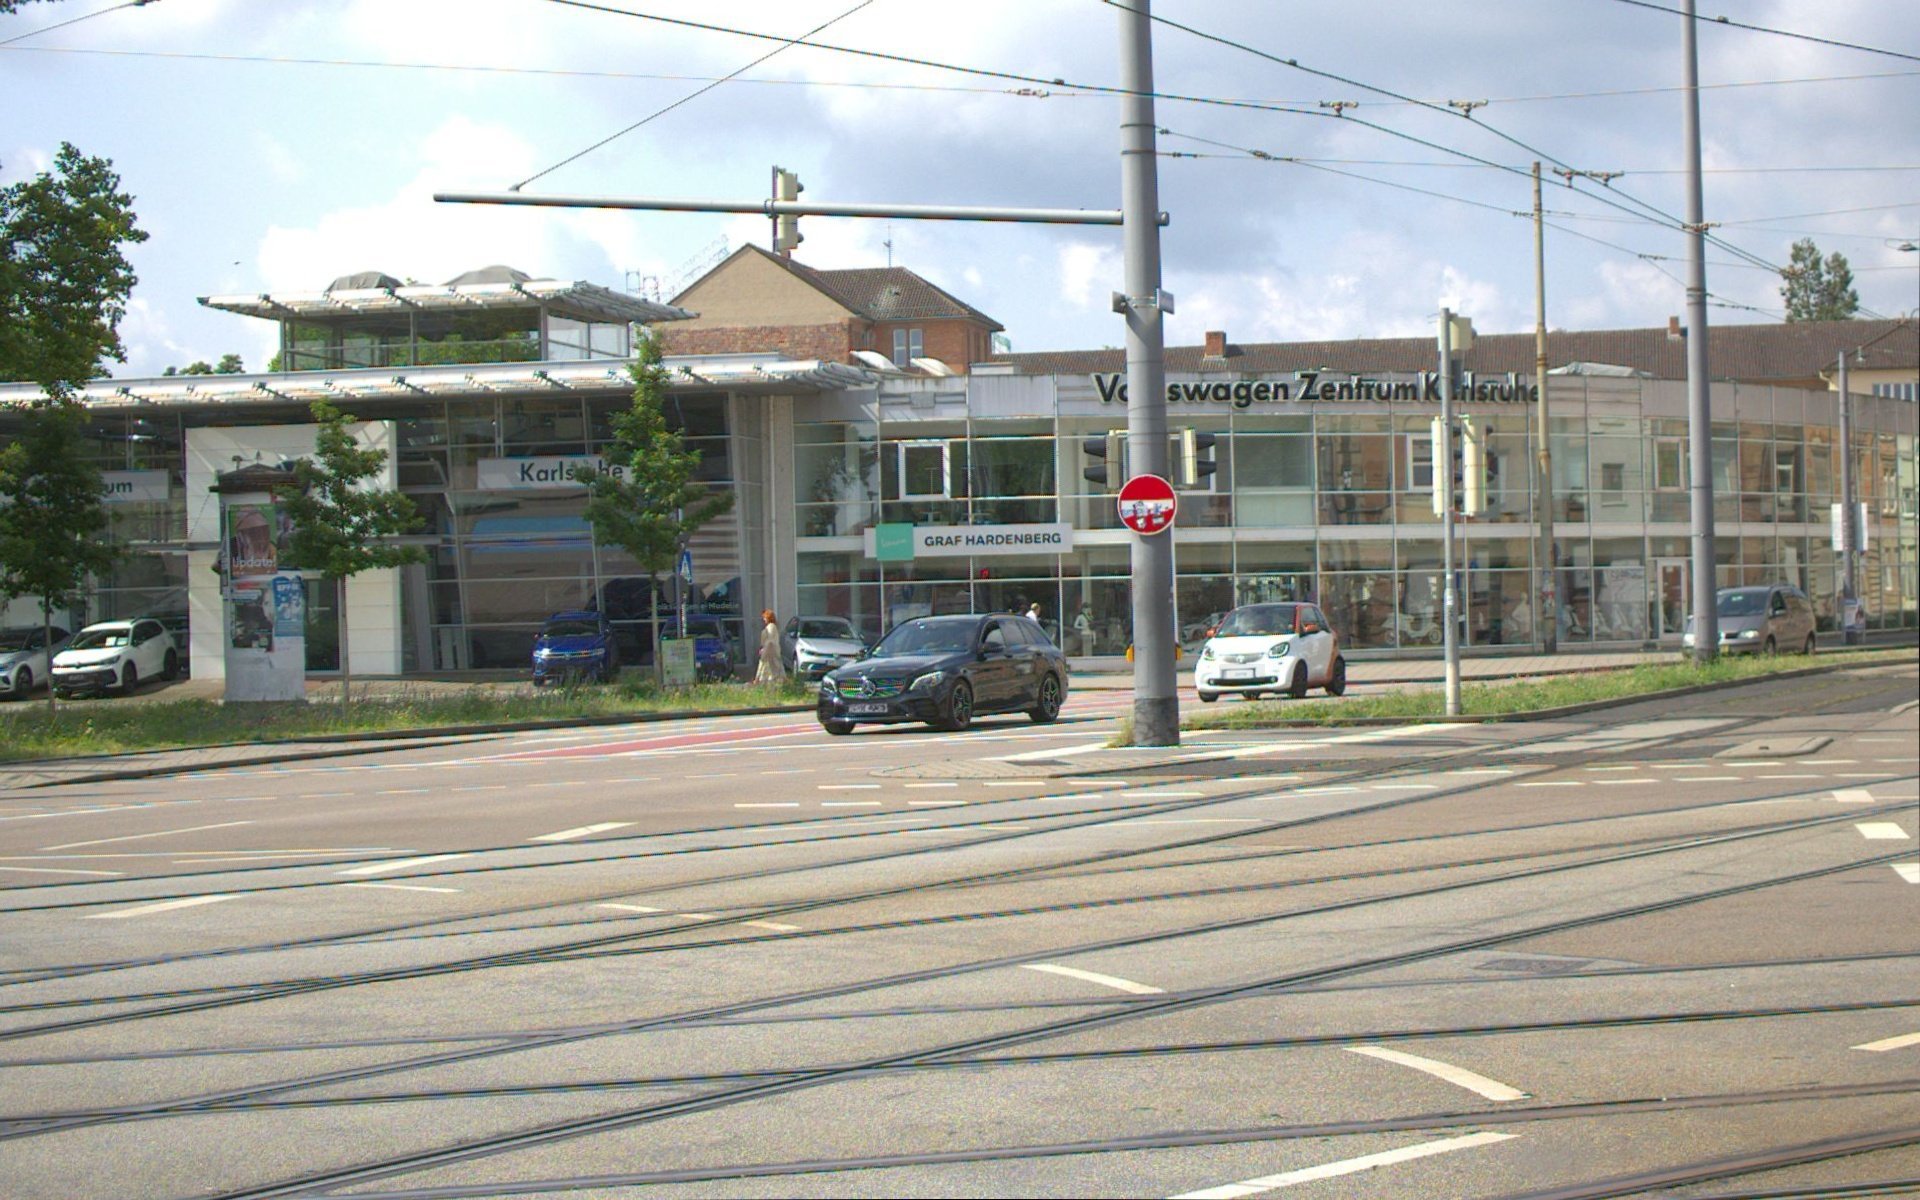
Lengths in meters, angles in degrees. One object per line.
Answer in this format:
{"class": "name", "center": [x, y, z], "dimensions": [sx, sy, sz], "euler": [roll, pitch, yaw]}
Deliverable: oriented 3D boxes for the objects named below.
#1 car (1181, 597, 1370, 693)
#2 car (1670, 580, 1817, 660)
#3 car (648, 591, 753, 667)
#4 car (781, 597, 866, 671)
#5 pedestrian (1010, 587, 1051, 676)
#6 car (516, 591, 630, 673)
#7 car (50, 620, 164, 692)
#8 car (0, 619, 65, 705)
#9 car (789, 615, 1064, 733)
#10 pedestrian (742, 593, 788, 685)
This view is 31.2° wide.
{"class": "car", "center": [5.068, 0.714, 54.827], "dimensions": [1.688, 1.465, 3.650], "euler": [0, -1, 28]}
{"class": "car", "center": [16.099, 0.397, 70.529], "dimensions": [1.996, 1.568, 3.731], "euler": [-1, 0, 28]}
{"class": "car", "center": [-6.014, 0.684, 80.113], "dimensions": [1.993, 1.720, 4.000], "euler": [1, -1, 2]}
{"class": "car", "center": [-3.222, 0.808, 81.606], "dimensions": [1.928, 1.678, 4.000], "euler": [1, -1, -1]}
{"class": "pedestrian", "center": [1.613, 0.706, 78.495], "dimensions": [0.869, 2.007, 0.703], "euler": [-1, 0, 0]}
{"class": "car", "center": [-9.095, 0.768, 81.078], "dimensions": [1.994, 1.832, 3.999], "euler": [-2, -1, 3]}
{"class": "car", "center": [-20.685, 1.337, 83.474], "dimensions": [1.785, 1.677, 4.000], "euler": [-1, 0, -1]}
{"class": "car", "center": [-23.254, 1.481, 83.475], "dimensions": [1.993, 2.007, 4.000], "euler": [2, -1, -1]}
{"class": "car", "center": [-0.366, 0.908, 43.391], "dimensions": [1.867, 1.371, 3.935], "euler": [-1, 0, 27]}
{"class": "pedestrian", "center": [-4.314, 0.867, 75.942], "dimensions": [0.808, 2.007, 0.808], "euler": [1, -1, 12]}
